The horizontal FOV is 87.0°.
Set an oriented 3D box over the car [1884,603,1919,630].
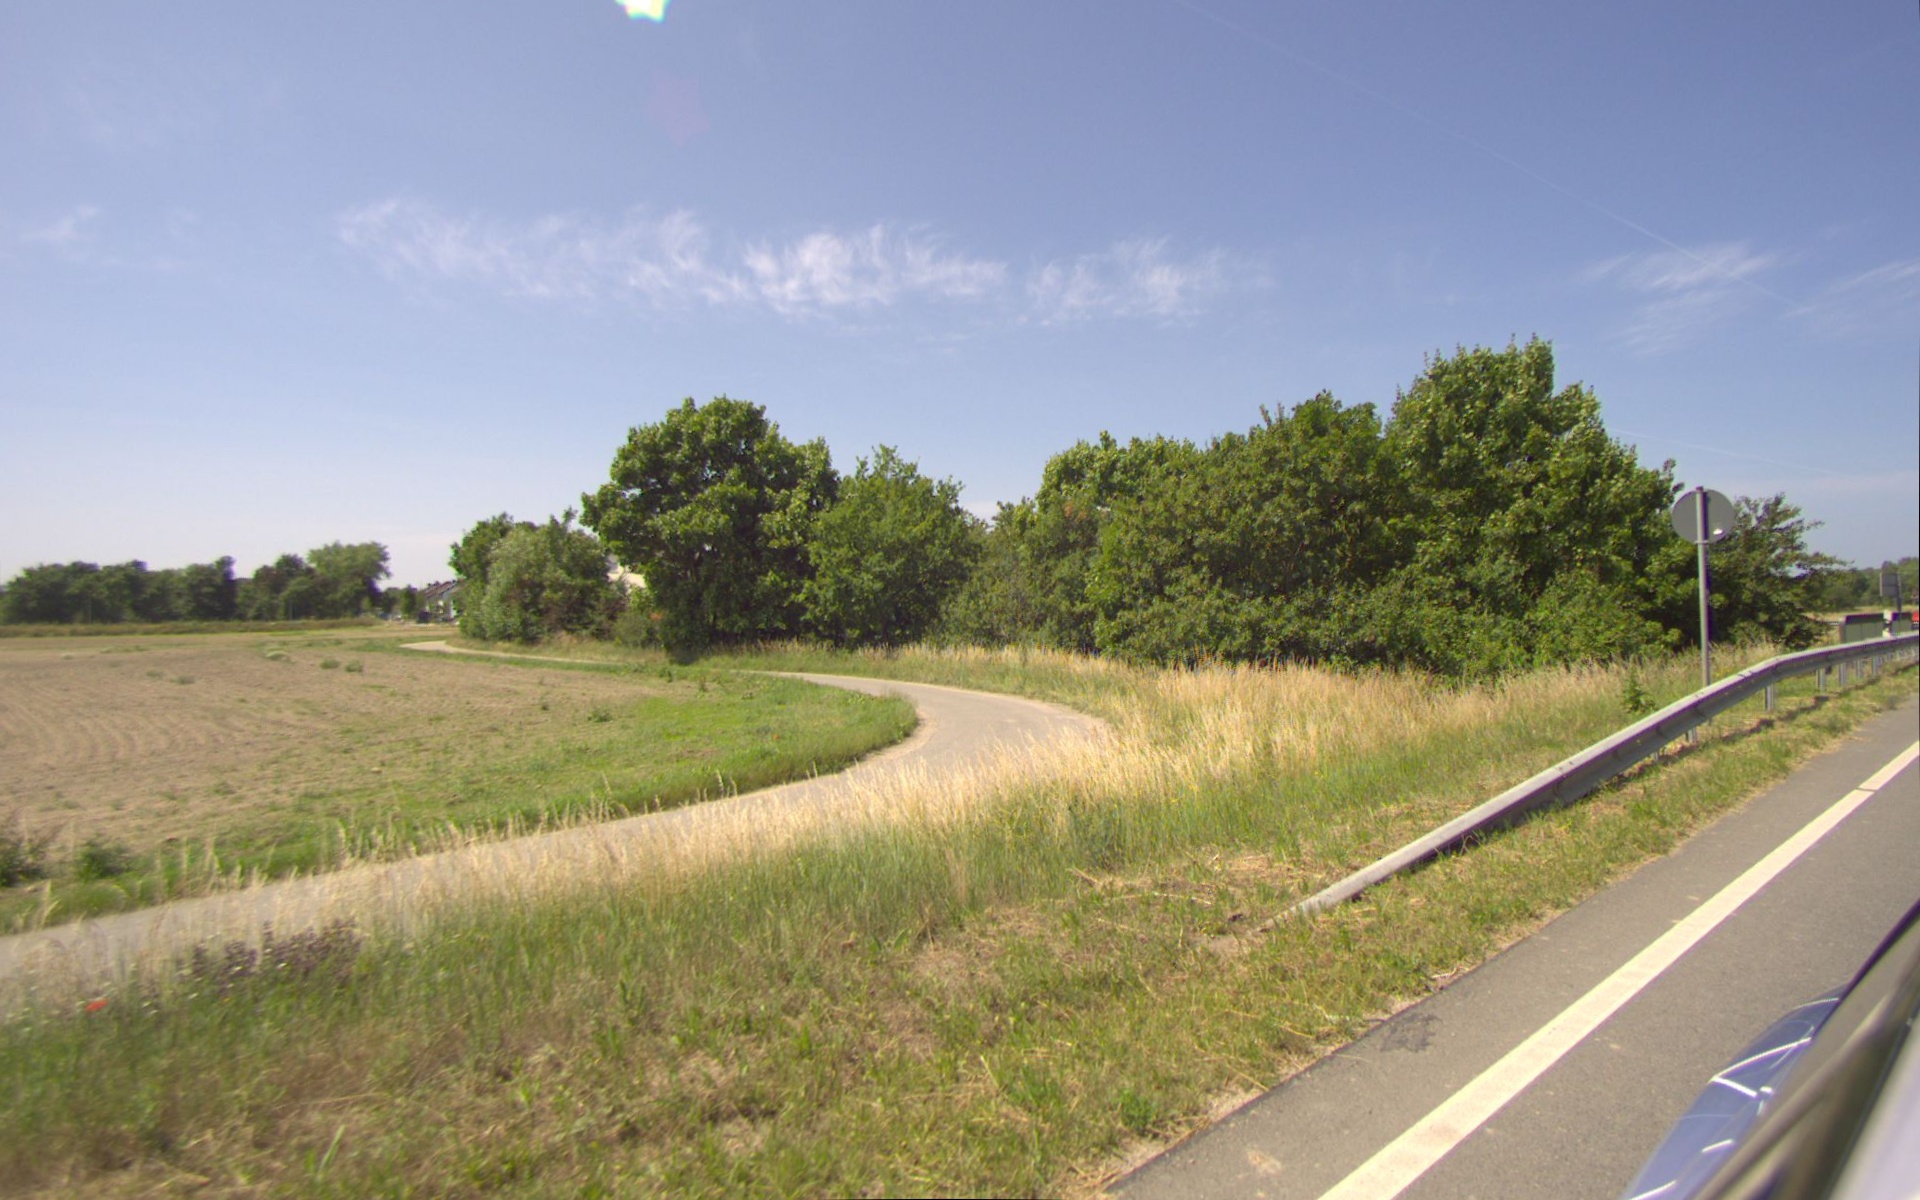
[{"bbox_3d":[52.843,0.850,54.474,1.743,1.437,4.171,-1,-1,-27],"label":"car"}]
